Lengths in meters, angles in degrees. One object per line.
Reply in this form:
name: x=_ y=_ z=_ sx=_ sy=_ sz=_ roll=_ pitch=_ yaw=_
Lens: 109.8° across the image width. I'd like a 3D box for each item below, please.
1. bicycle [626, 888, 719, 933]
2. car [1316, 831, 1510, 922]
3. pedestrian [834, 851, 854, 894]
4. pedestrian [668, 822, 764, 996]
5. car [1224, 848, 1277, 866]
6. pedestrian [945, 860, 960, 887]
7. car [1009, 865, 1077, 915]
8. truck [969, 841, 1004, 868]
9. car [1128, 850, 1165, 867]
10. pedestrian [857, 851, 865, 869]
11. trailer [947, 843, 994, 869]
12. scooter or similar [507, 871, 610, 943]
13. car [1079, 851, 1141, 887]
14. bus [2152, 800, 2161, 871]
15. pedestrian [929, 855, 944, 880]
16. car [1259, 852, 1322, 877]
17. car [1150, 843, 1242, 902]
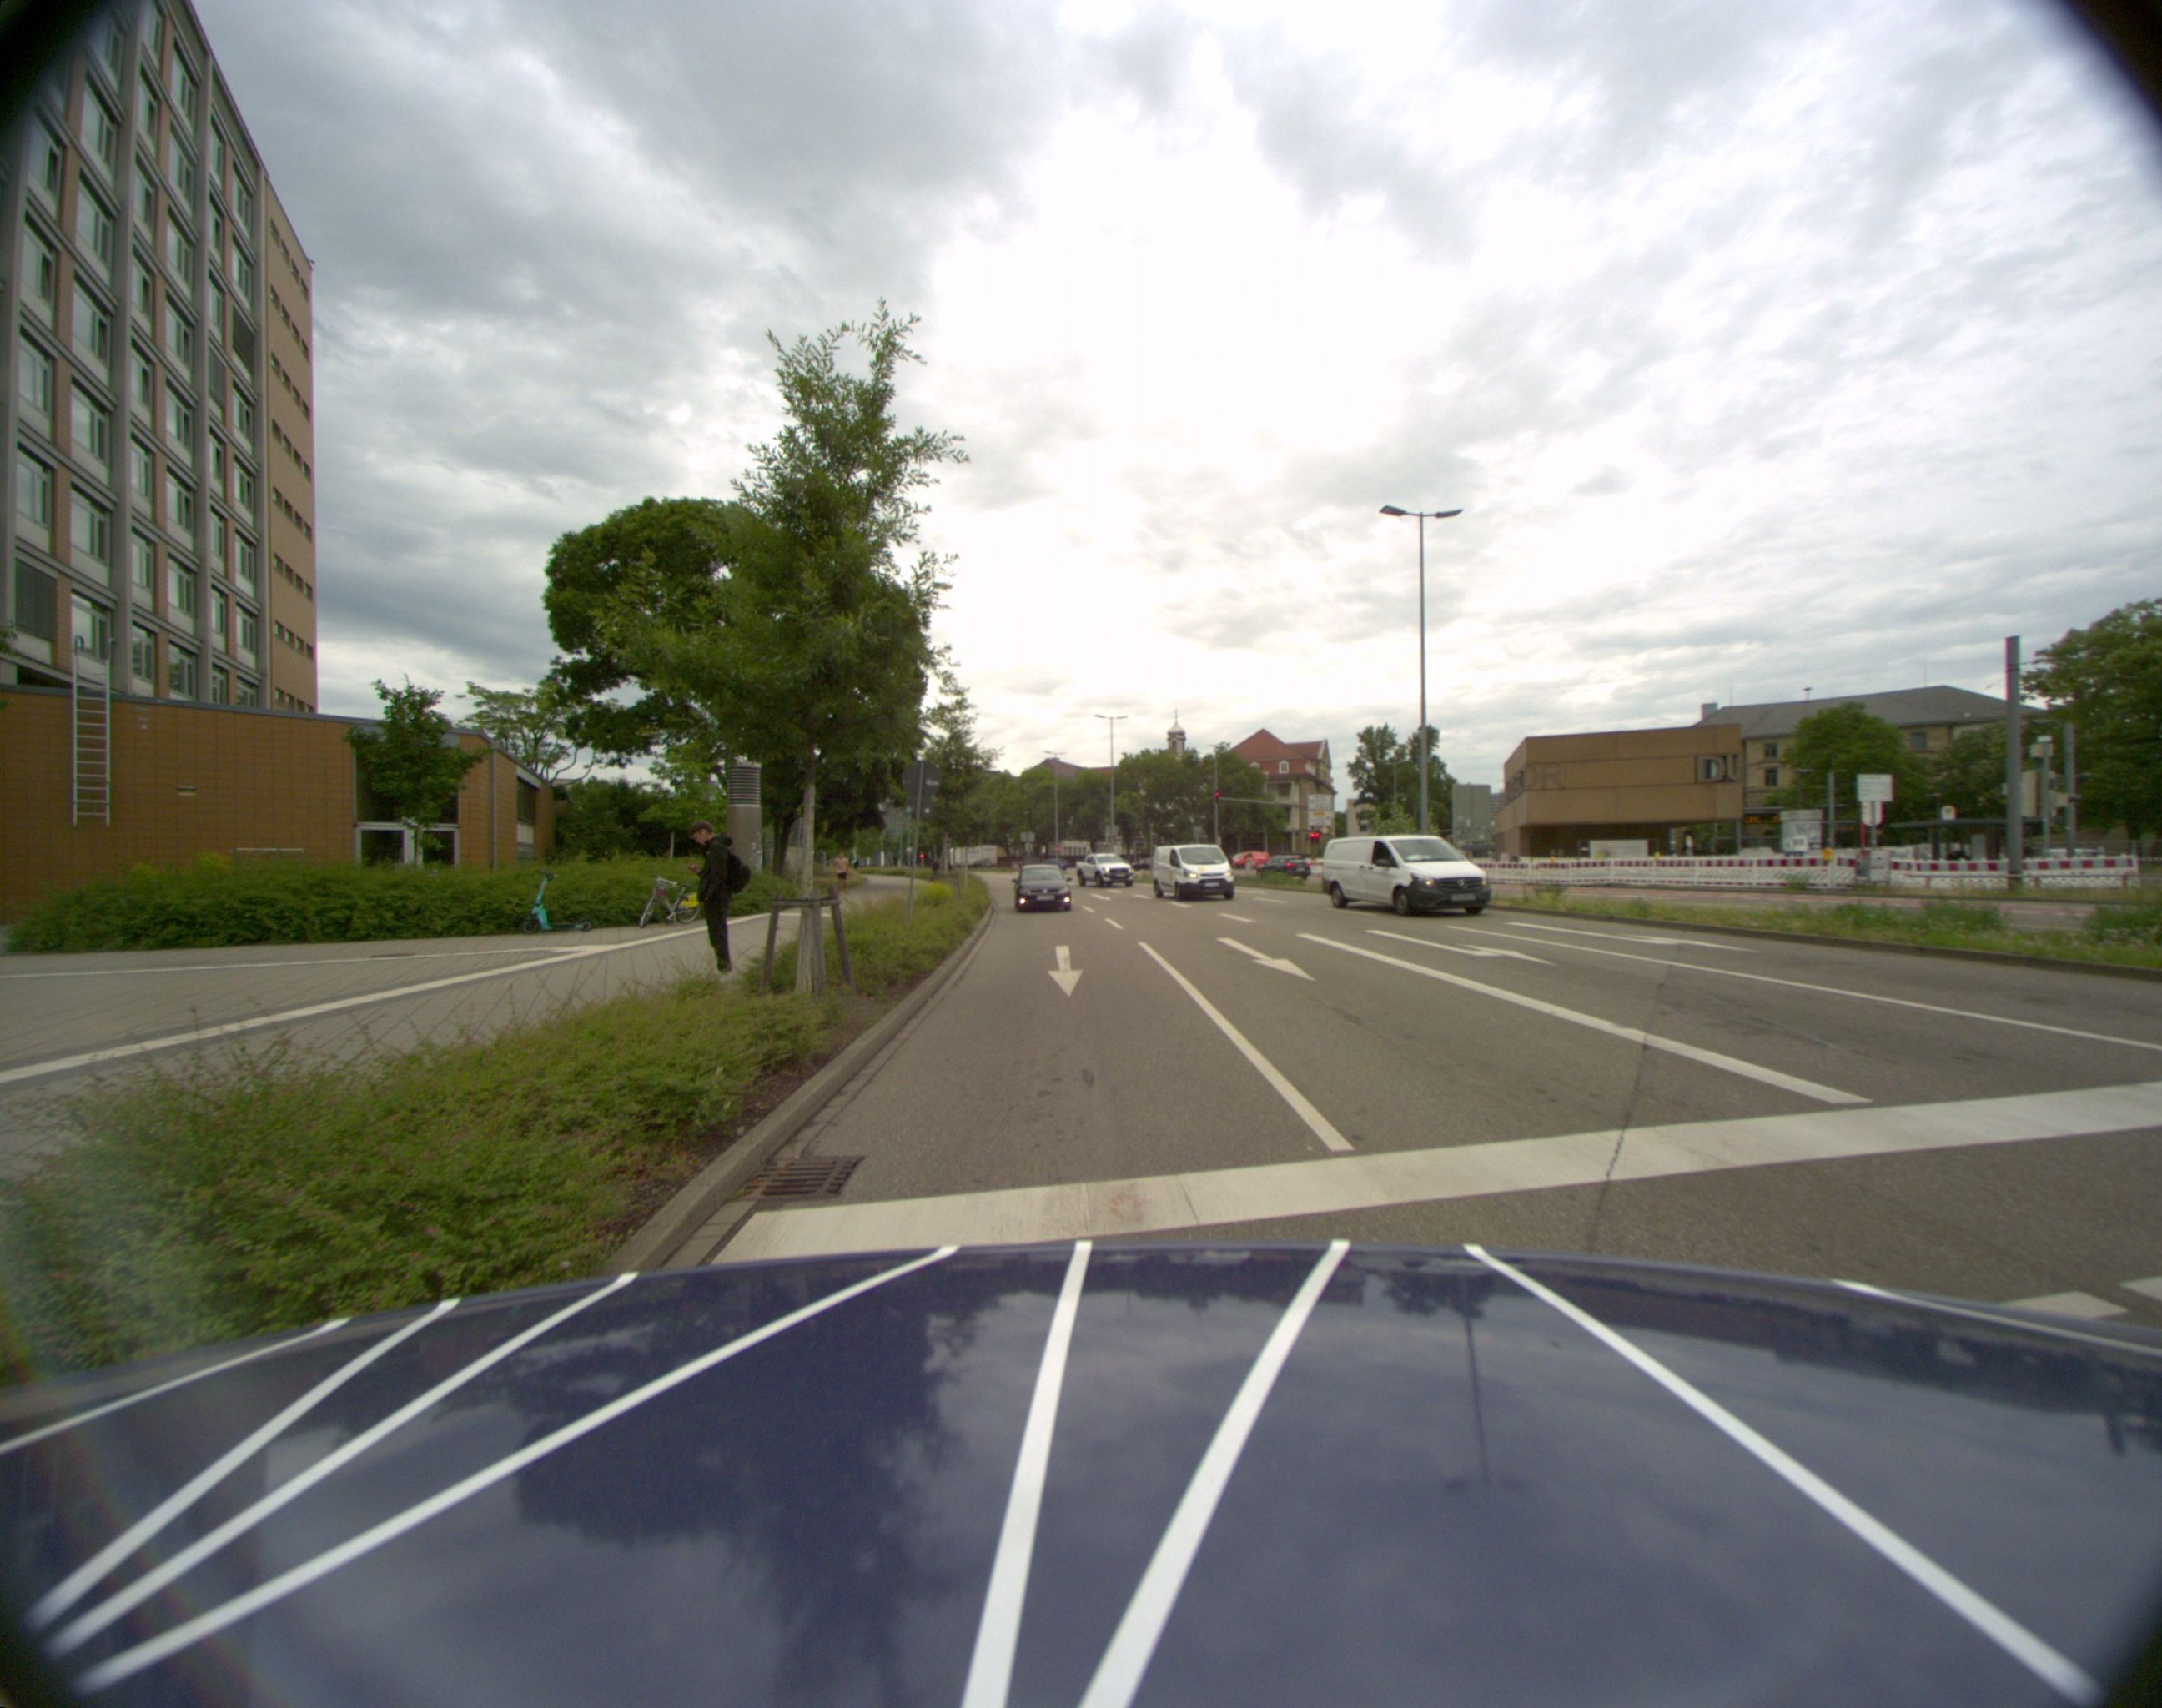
bicycle: x=-8.879 y=1.206 z=16.624 sx=0.557 sy=0.843 sz=2.075 roll=-1 pitch=0 yaw=13
car: x=7.874 y=0.475 z=18.714 sx=1.923 sy=1.871 sz=5.085 roll=-2 pitch=0 yaw=-8
pedestrian: x=-9.933 y=0.771 z=31.828 sx=0.631 sy=1.790 sz=0.597 roll=2 pitch=0 yaw=-6
pedestrian: x=-4.272 y=0.605 z=8.883 sx=0.875 sy=1.917 sz=0.722 roll=-1 pitch=0 yaw=-35
car: x=17.731 y=0.302 z=79.431 sx=5.250 sy=1.707 sz=1.909 roll=-1 pitch=0 yaw=-25
pedestrian: x=-8.532 y=1.294 z=50.433 sx=0.596 sy=1.790 sz=0.723 roll=2 pitch=0 yaw=41
car: x=-1.311 y=1.096 z=24.420 sx=1.657 sy=1.404 sz=3.996 roll=-1 pitch=0 yaw=-10
truck: x=-14.761 y=0.185 z=118.272 sx=2.918 sy=4.001 sz=7.146 roll=-2 pitch=0 yaw=-28
car: x=7.254 y=0.492 z=84.797 sx=3.996 sy=1.718 sz=2.001 roll=-2 pitch=0 yaw=4
pedestrian: x=-22.358 y=0.569 z=77.282 sx=0.598 sy=1.790 sz=0.518 roll=2 pitch=0 yaw=-25
trailer: x=-18.320 y=0.393 z=124.985 sx=2.952 sy=3.990 sz=13.781 roll=-2 pitch=0 yaw=-28
scooter or similar: x=-10.311 y=1.015 z=15.047 sx=1.607 sy=1.282 sz=0.693 roll=-2 pitch=0 yaw=-34
car: x=1.514 y=0.801 z=41.751 sx=2.092 sy=1.838 sz=4.745 roll=-1 pitch=0 yaw=-15
bus: x=45.333 y=-0.776 z=27.189 sx=2.857 sy=3.059 sz=12.041 roll=-2 pitch=0 yaw=27
pedestrian: x=-10.325 y=0.952 z=54.252 sx=0.596 sy=1.790 sz=0.723 roll=2 pitch=0 yaw=41
car: x=12.665 y=0.626 z=46.254 sx=2.001 sy=1.390 sz=3.995 roll=-1 pitch=0 yaw=-13
car: x=4.085 y=0.622 z=27.751 sx=2.000 sy=1.930 sz=4.520 roll=-1 pitch=0 yaw=-9
